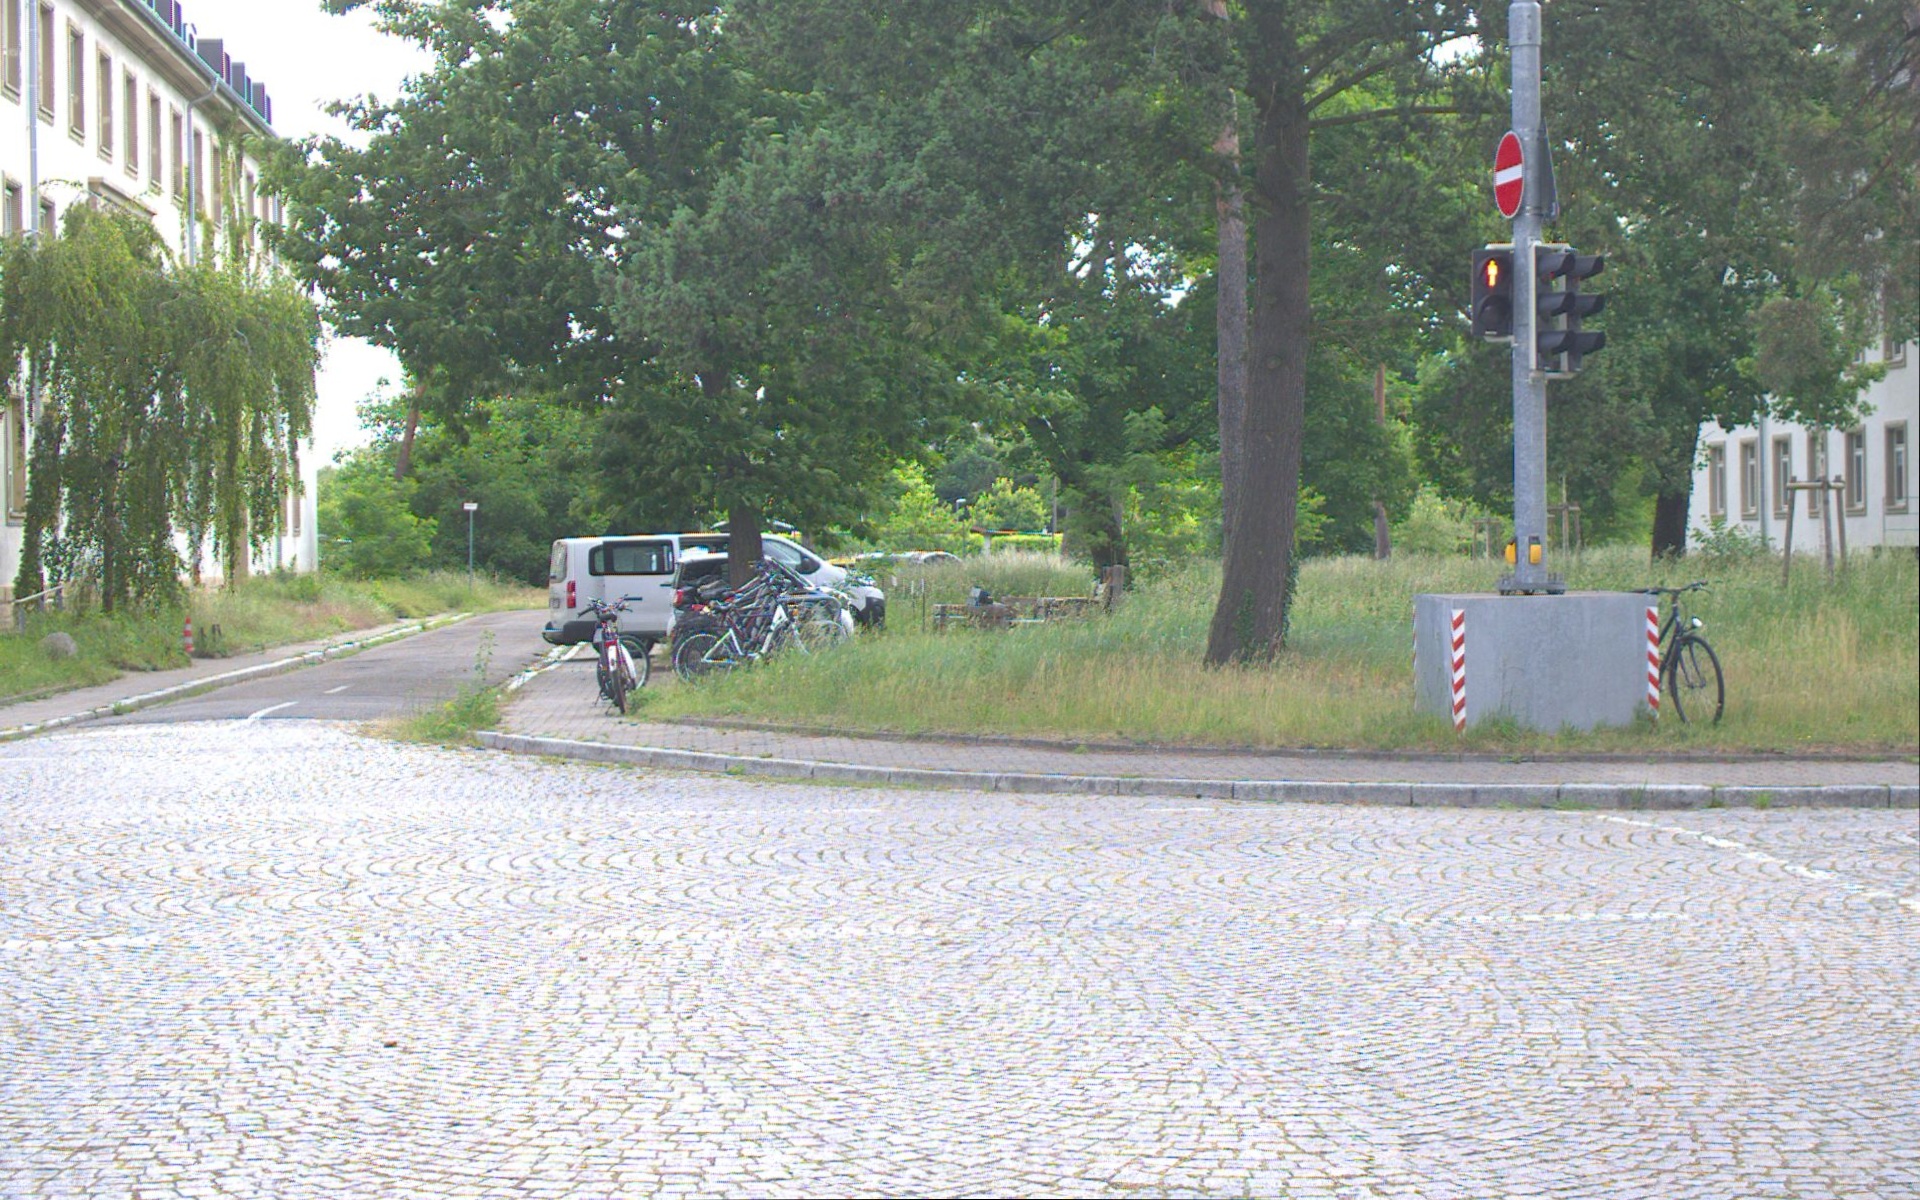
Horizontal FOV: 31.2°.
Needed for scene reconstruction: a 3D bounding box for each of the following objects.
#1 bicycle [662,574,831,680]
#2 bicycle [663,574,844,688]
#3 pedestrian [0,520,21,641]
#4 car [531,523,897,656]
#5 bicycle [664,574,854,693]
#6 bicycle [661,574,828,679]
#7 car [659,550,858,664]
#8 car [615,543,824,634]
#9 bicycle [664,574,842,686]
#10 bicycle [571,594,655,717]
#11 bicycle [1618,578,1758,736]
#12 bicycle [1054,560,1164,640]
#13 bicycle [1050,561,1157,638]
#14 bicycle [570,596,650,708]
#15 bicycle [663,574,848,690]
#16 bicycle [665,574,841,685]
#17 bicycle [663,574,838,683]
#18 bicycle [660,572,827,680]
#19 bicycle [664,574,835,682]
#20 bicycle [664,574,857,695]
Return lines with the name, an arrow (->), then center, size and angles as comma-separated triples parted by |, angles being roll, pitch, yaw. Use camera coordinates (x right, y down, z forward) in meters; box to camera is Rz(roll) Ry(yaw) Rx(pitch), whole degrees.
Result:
bicycle -> -2.542, 0.320, 40.912 | 1.982, 1.243, 0.624 | 0, 0, -5
bicycle -> -2.297, 0.340, 38.172 | 1.982, 1.243, 0.624 | 0, 0, -5
pedestrian -> -14.480, -0.287, 50.927 | 0.837, 1.775, 0.941 | 0, 1, 1
car -> -3.854, -0.188, 53.790 | 5.303, 1.909, 2.150 | -2, 1, -18
bicycle -> -2.134, 0.352, 36.393 | 1.982, 1.243, 0.624 | 0, 0, -5
bicycle -> -2.600, 0.317, 41.404 | 1.982, 1.243, 0.624 | 0, 0, -5
car -> -2.962, 0.094, 50.365 | 2.847, 1.552, 1.472 | -1, 2, -4
car -> -4.739, -0.235, 67.653 | 4.031, 1.712, 1.681 | -1, 0, -5
bicycle -> -2.343, 0.335, 38.804 | 1.982, 1.243, 0.624 | 0, 0, -5
bicycle -> -3.246, 0.501, 32.311 | 0.622, 1.110, 1.989 | 0, 0, -1
bicycle -> 5.015, 0.372, 23.764 | 0.580, 0.967, 1.678 | -2, 2, 0
bicycle -> 2.145, -0.002, 49.621 | 1.549, 1.121, 0.401 | -1, 0, -2
bicycle -> 2.120, -0.013, 50.853 | 1.549, 1.121, 0.401 | -1, 0, -2
bicycle -> -3.475, 0.503, 34.255 | 0.622, 1.079, 1.678 | 0, 0, 0
bicycle -> -2.225, 0.346, 37.315 | 1.982, 1.243, 0.624 | 0, 0, -5
bicycle -> -2.371, 0.332, 39.328 | 1.982, 1.243, 0.624 | 0, 0, -5
bicycle -> -2.429, 0.329, 39.759 | 1.982, 1.243, 0.624 | 0, 0, -5
bicycle -> -2.655, 0.312, 42.061 | 1.982, 1.243, 0.624 | -2, 0, -5
bicycle -> -2.477, 0.324, 40.402 | 1.982, 1.243, 0.624 | 0, 0, -5
bicycle -> -2.082, 0.357, 35.766 | 1.982, 1.243, 0.624 | 0, 0, -5
